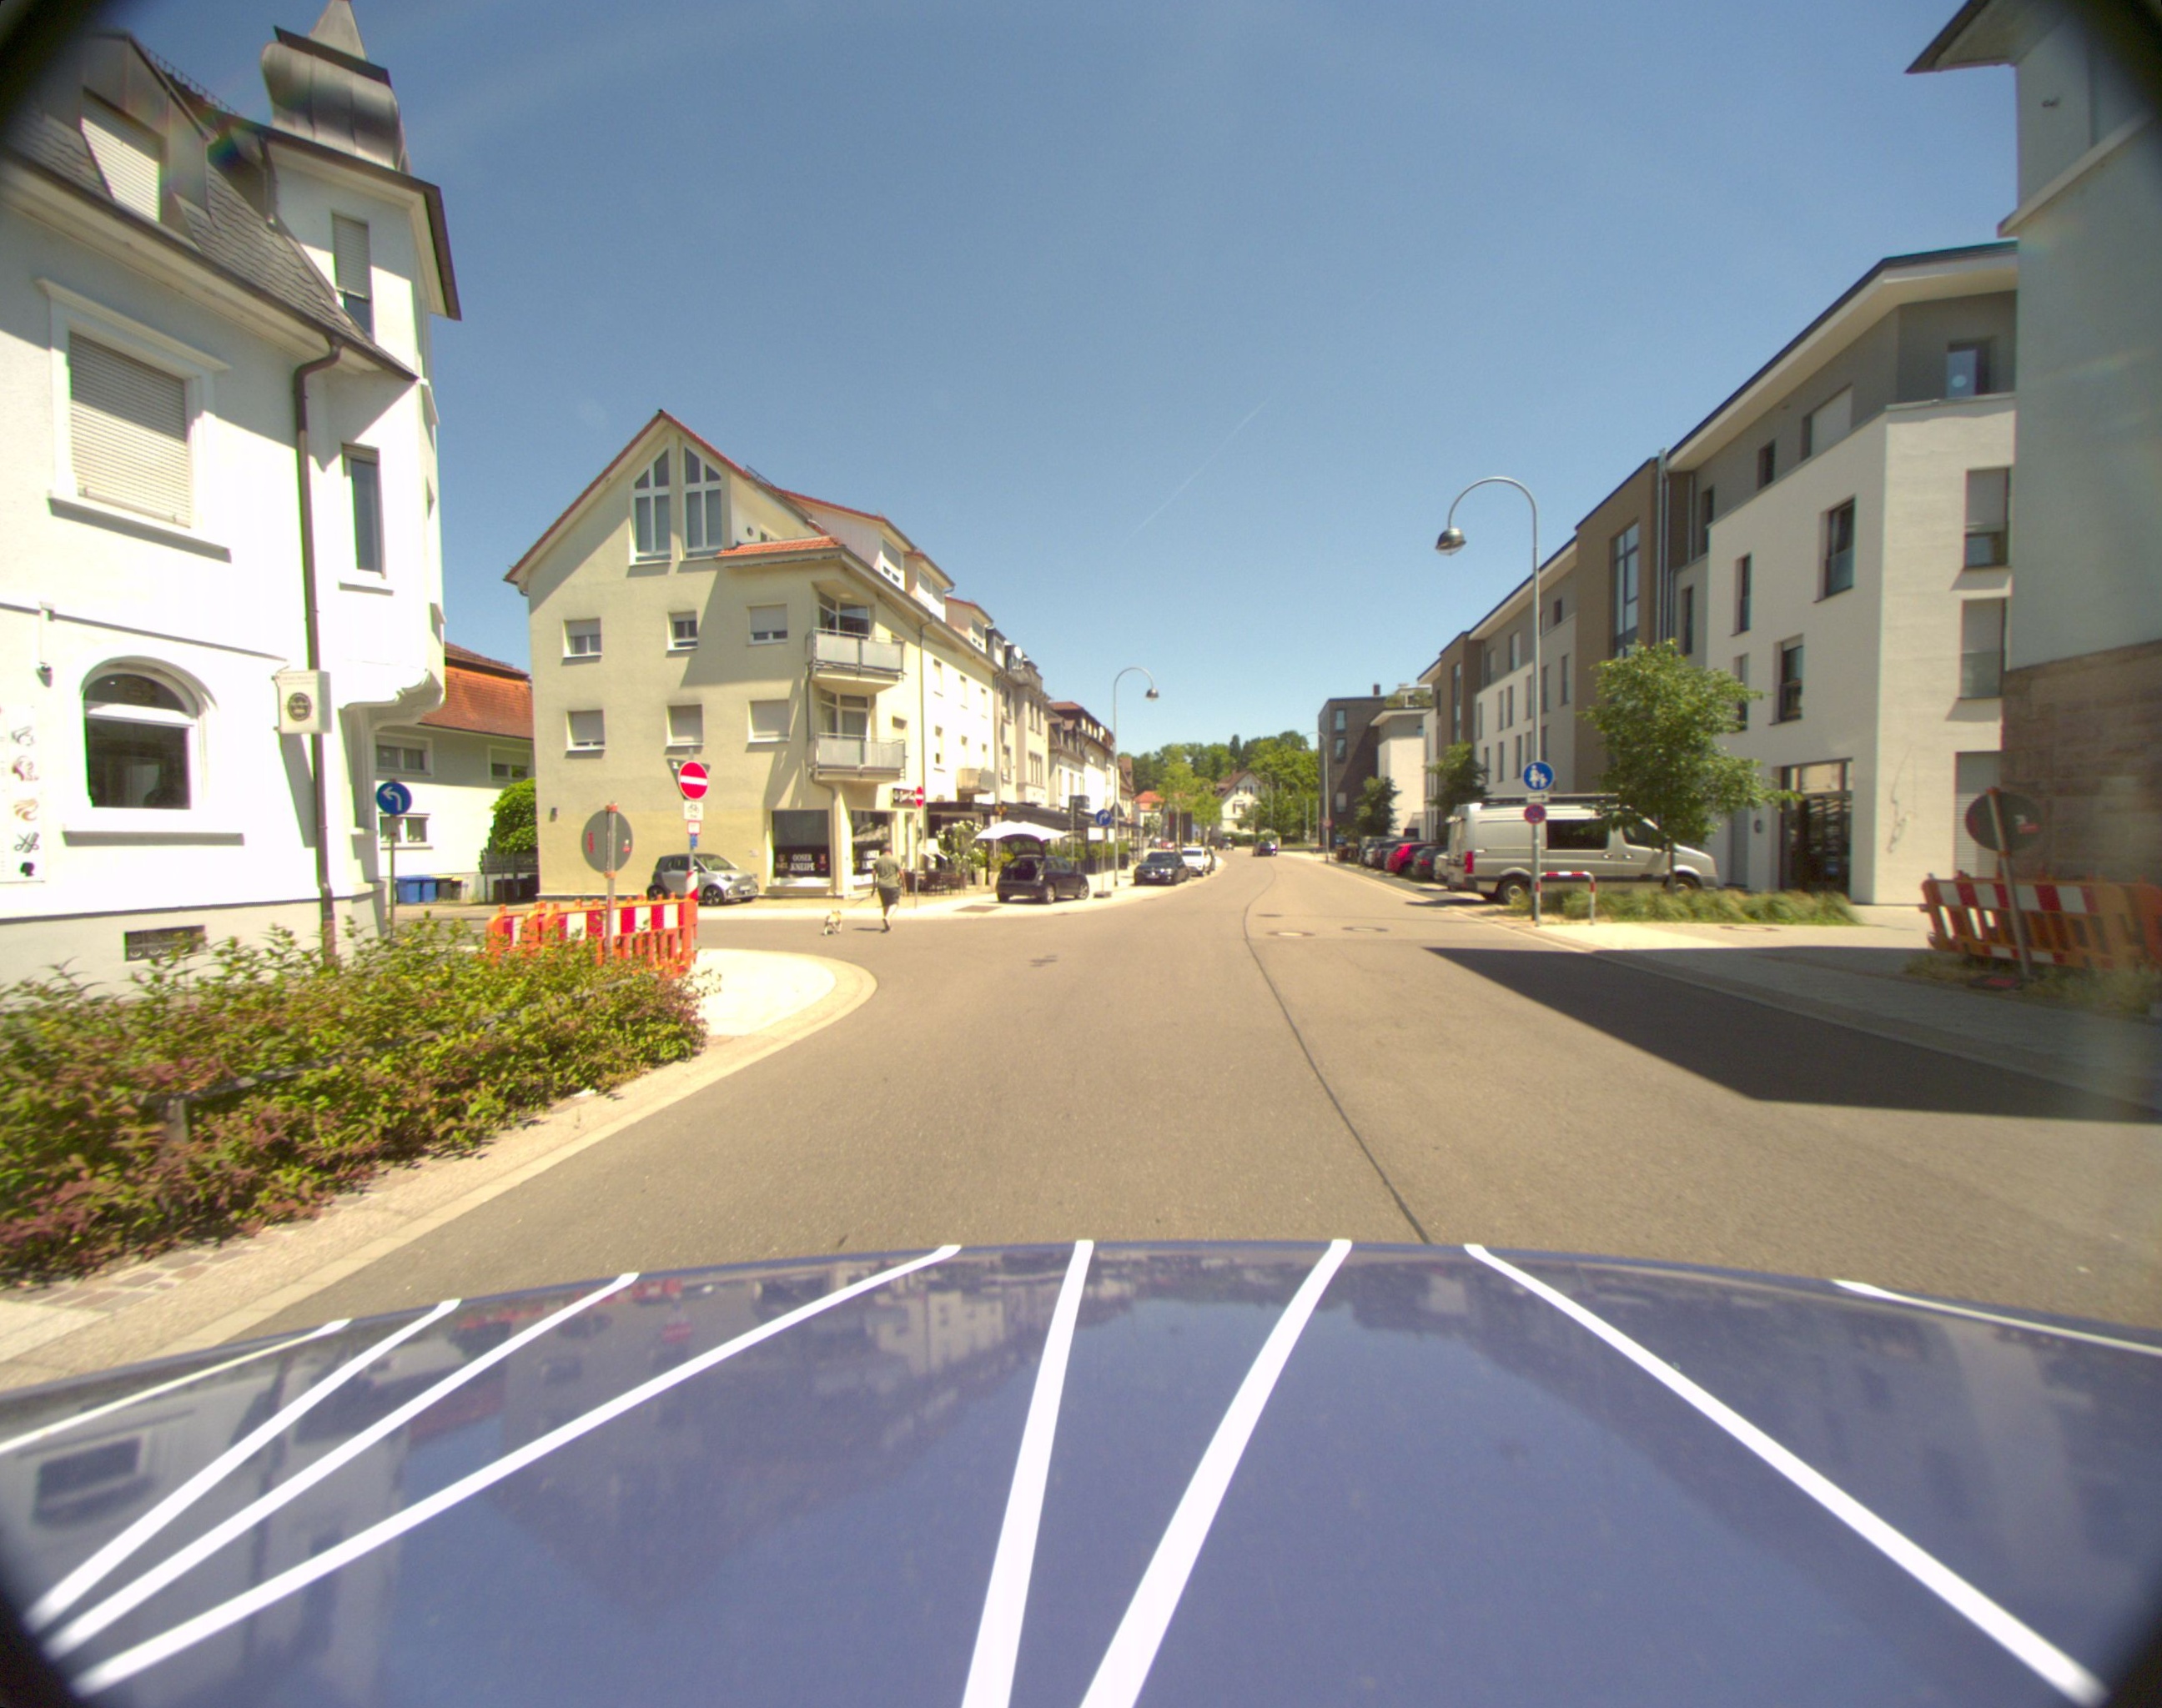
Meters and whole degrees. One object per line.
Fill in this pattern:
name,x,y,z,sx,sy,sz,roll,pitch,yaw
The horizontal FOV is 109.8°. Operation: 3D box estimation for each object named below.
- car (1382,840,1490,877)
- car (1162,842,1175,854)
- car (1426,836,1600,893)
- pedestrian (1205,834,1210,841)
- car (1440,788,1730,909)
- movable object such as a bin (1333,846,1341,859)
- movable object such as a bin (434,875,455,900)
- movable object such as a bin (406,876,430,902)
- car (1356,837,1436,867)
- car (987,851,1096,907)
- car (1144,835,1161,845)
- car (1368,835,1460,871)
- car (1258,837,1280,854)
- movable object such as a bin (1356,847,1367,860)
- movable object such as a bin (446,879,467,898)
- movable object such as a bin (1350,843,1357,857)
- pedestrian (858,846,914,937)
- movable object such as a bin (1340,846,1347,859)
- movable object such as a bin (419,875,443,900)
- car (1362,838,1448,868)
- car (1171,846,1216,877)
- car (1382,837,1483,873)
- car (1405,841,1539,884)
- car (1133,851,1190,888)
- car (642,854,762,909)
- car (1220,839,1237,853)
car,15.773,0.199,33.953,4.038,1.422,2.002,-2,2,14
car,12.186,-0.838,105.986,1.683,1.505,3.387,-1,1,4
car,13.766,0.327,24.524,4.461,1.582,2.001,-2,2,12
pedestrian,21.194,-2.767,127.540,0.598,1.054,0.566,-2,2,-8
car,12.698,-0.125,19.646,5.776,2.717,2.293,-2,2,13
movable object such as a bin,19.031,-0.104,56.524,0.484,0.992,0.588,-1,2,11
movable object such as a bin,-26.051,1.376,31.094,0.462,1.005,0.463,-1,0,9
movable object such as a bin,-26.206,1.375,30.032,0.462,1.005,0.512,-1,0,9
car,18.316,-0.127,44.349,3.993,1.507,2.001,-2,2,13
car,-1.138,0.708,23.571,1.873,1.483,3.867,1,2,23
car,11.139,-2.135,118.936,1.735,1.465,4.319,1,2,-7
car,17.086,-0.069,39.195,4.038,1.642,2.002,-2,2,14
car,18.355,-0.808,74.433,1.896,1.545,4.802,-2,1,13
movable object such as a bin,19.439,-0.015,52.718,0.555,0.863,0.481,-2,2,-5
movable object such as a bin,-25.950,1.450,31.567,0.462,0.769,0.457,-1,0,9
movable object such as a bin,20.182,-0.280,56.336,0.404,0.992,0.556,-1,2,11
pedestrian,-3.976,0.750,15.533,0.746,1.786,0.845,0,0,20
movable object such as a bin,19.495,-0.123,56.447,0.404,0.992,0.556,-1,2,11
movable object such as a bin,-26.138,1.351,30.557,0.462,1.005,0.518,-1,0,9
car,17.707,-0.049,41.683,3.993,1.413,1.911,-2,2,13
car,6.144,0.358,41.088,1.739,1.478,4.058,2,3,18
car,16.753,0.031,36.428,4.038,1.488,2.002,-2,2,14
car,15.065,0.301,29.485,4.208,1.429,1.886,-2,2,8
car,3.639,0.623,33.712,1.726,1.397,4.613,1,2,16
car,-11.209,0.810,22.547,2.732,1.463,1.531,-2,2,12
car,18.931,-0.988,97.680,1.814,1.691,4.077,-1,1,6
